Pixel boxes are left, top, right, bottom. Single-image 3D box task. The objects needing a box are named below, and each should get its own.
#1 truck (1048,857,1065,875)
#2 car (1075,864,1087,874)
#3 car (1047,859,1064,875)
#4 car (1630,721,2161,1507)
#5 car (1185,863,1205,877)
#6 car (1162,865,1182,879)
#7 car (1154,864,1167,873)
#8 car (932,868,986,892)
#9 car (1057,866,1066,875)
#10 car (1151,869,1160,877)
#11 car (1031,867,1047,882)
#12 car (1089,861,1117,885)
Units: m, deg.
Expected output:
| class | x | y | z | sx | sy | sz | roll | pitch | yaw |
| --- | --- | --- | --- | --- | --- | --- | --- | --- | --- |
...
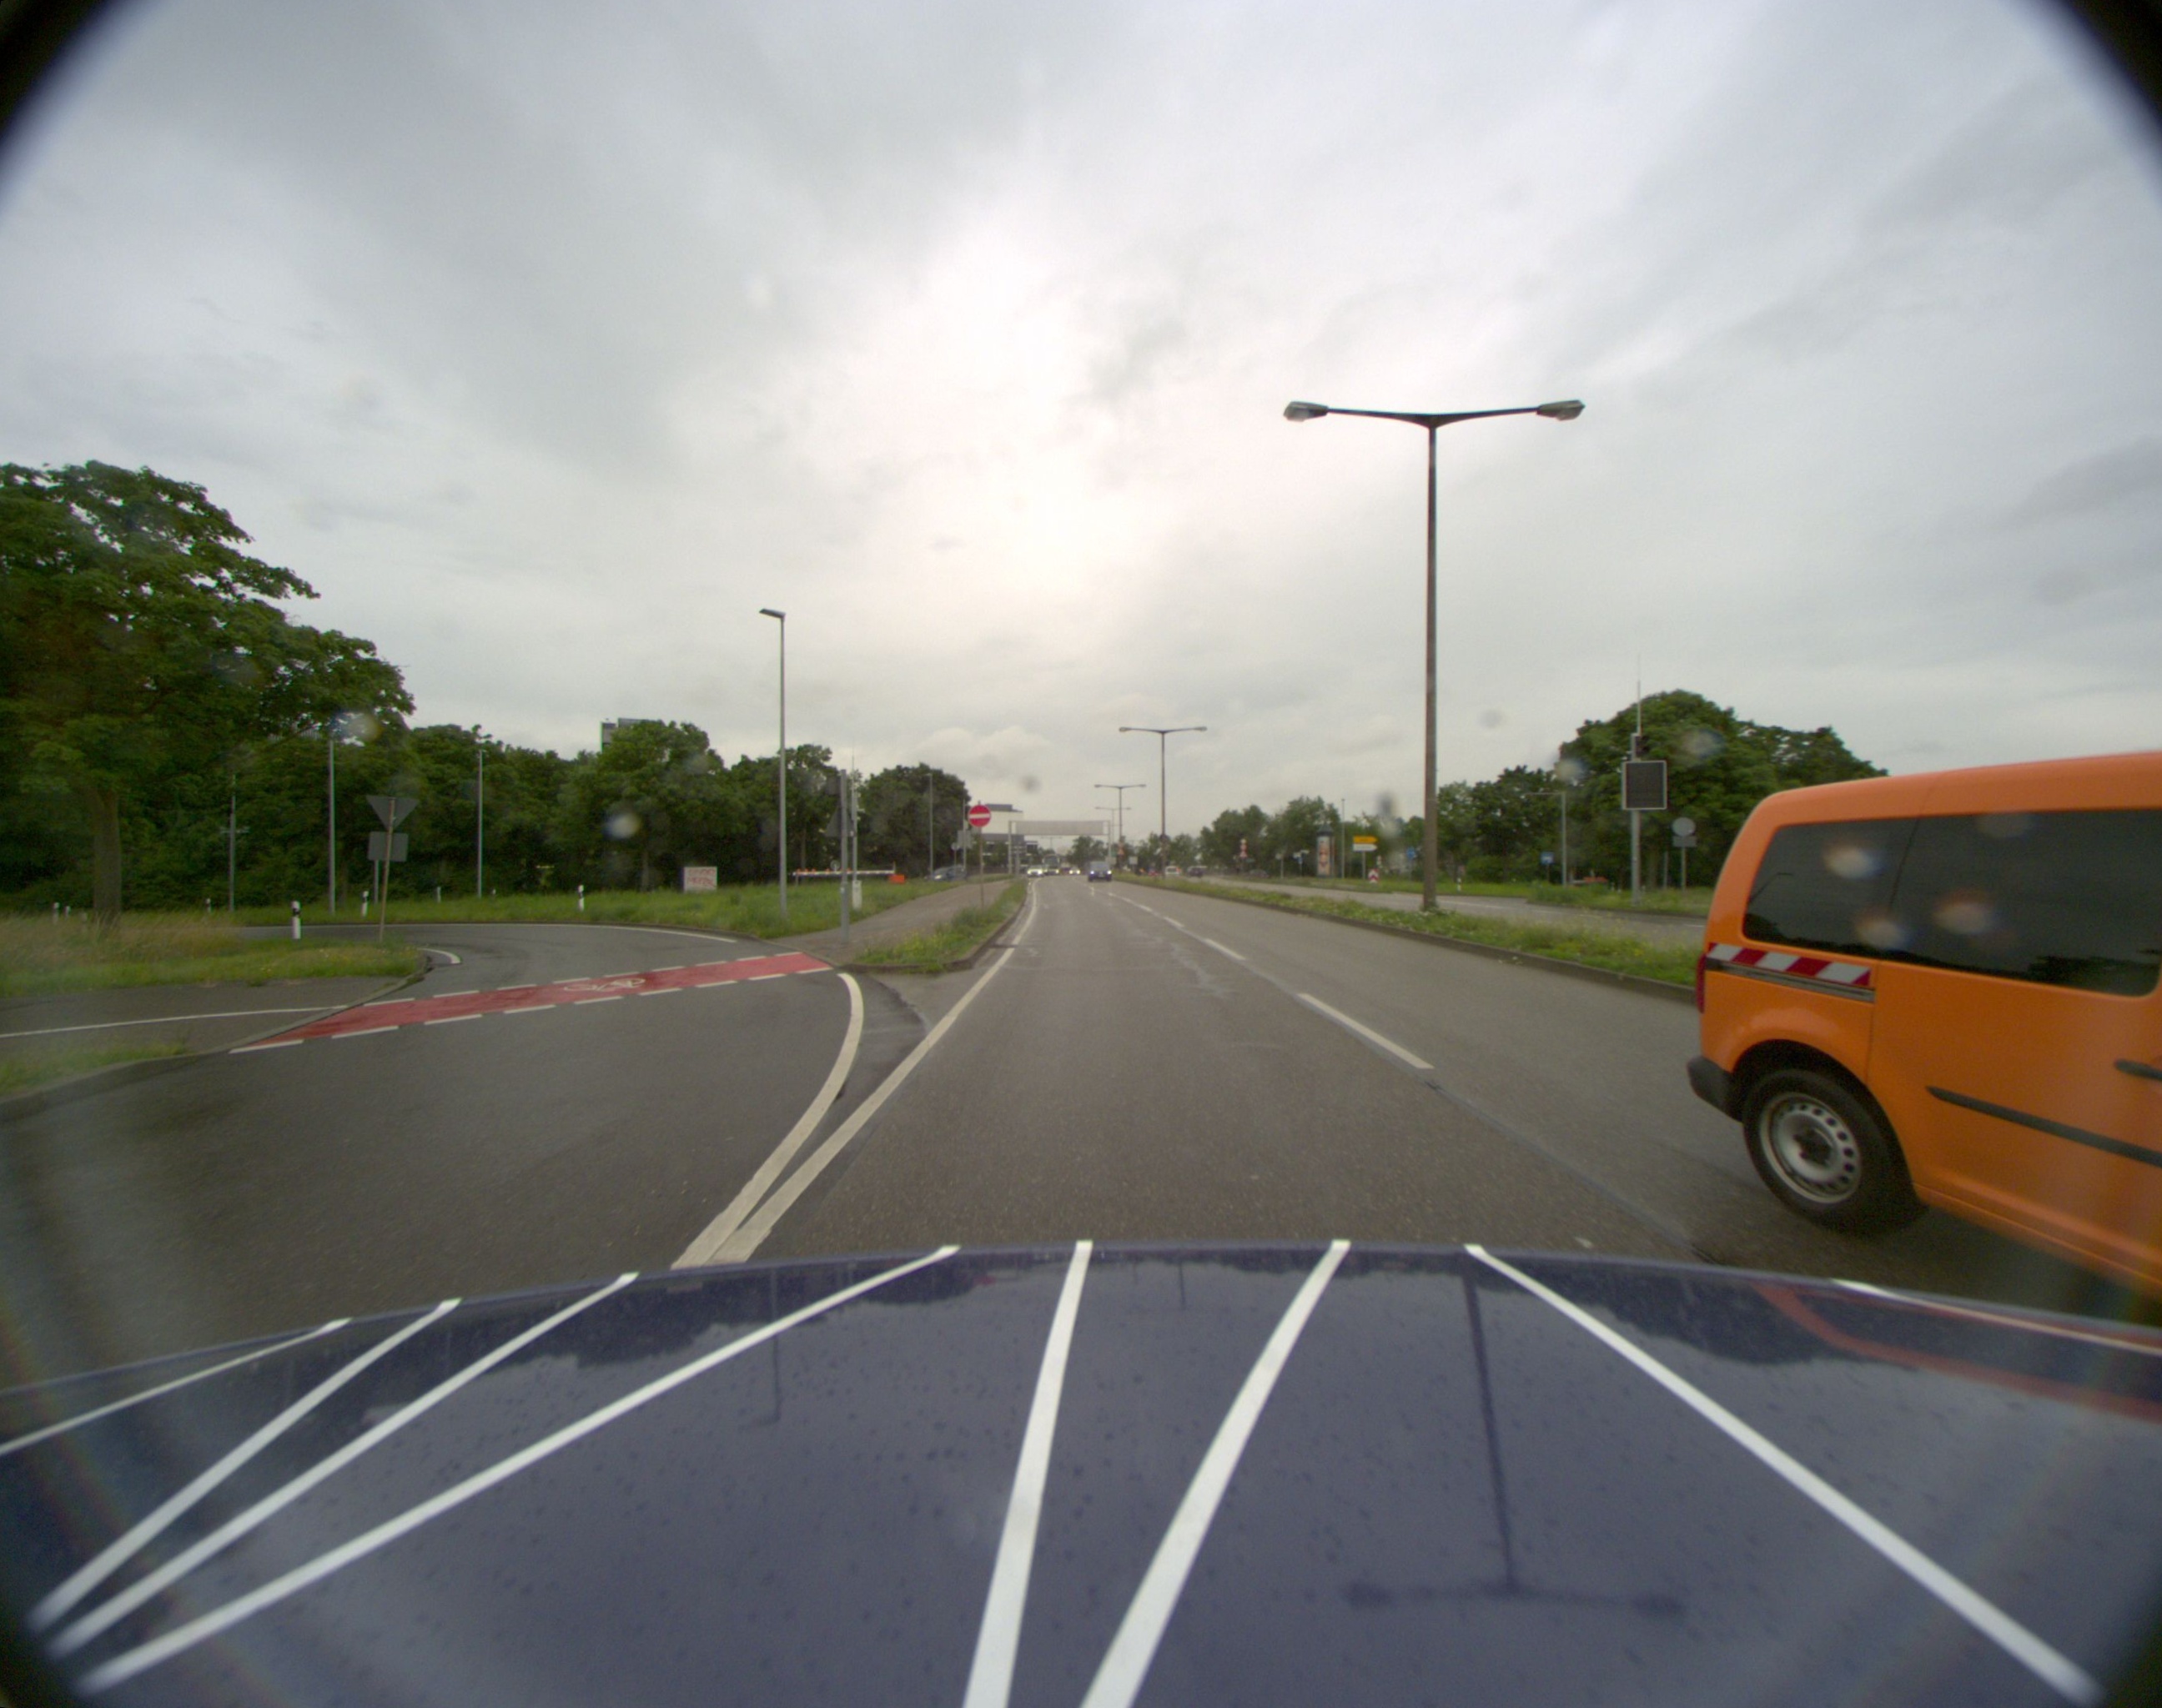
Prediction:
| class | x | y | z | sx | sy | sz | roll | pitch | yaw |
| --- | --- | --- | --- | --- | --- | --- | --- | --- | --- |
| truck | -4.362 | 2.100 | 135.823 | 2.860 | 3.196 | 8.096 | -1 | 0 | -1 |
| car | -0.015 | 2.765 | 141.047 | 1.999 | 1.701 | 3.999 | -1 | 0 | -1 |
| car | -3.603 | 1.792 | 106.294 | 2.252 | 2.248 | 5.170 | -1 | 0 | -1 |
| car | 3.599 | 0.644 | 1.384 | 1.739 | 2.007 | 4.850 | -1 | 0 | 1 |
| car | 14.890 | 2.045 | 99.510 | 1.851 | 1.740 | 4.030 | -1 | 0 | -3 |
| car | 11.183 | 2.170 | 93.493 | 1.851 | 1.612 | 4.030 | -1 | 0 | -3 |
| car | 13.659 | 2.437 | 131.271 | 1.850 | 1.513 | 4.031 | -1 | 0 | 0 |
| car | -10.274 | 2.194 | 64.392 | 1.847 | 1.740 | 4.825 | -2 | 1 | 28 |
| car | -4.348 | 3.618 | 168.036 | 1.999 | 1.701 | 3.999 | -1 | 0 | -1 |
| car | 16.557 | 4.234 | 169.145 | 1.850 | 1.740 | 4.032 | -1 | 0 | 2 |
| car | -5.317 | 2.588 | 95.991 | 1.841 | 1.739 | 4.000 | -1 | 0 | -1 |
| car | 1.836 | 1.572 | 64.154 | 1.851 | 1.740 | 4.815 | -3 | 0 | -3 |
